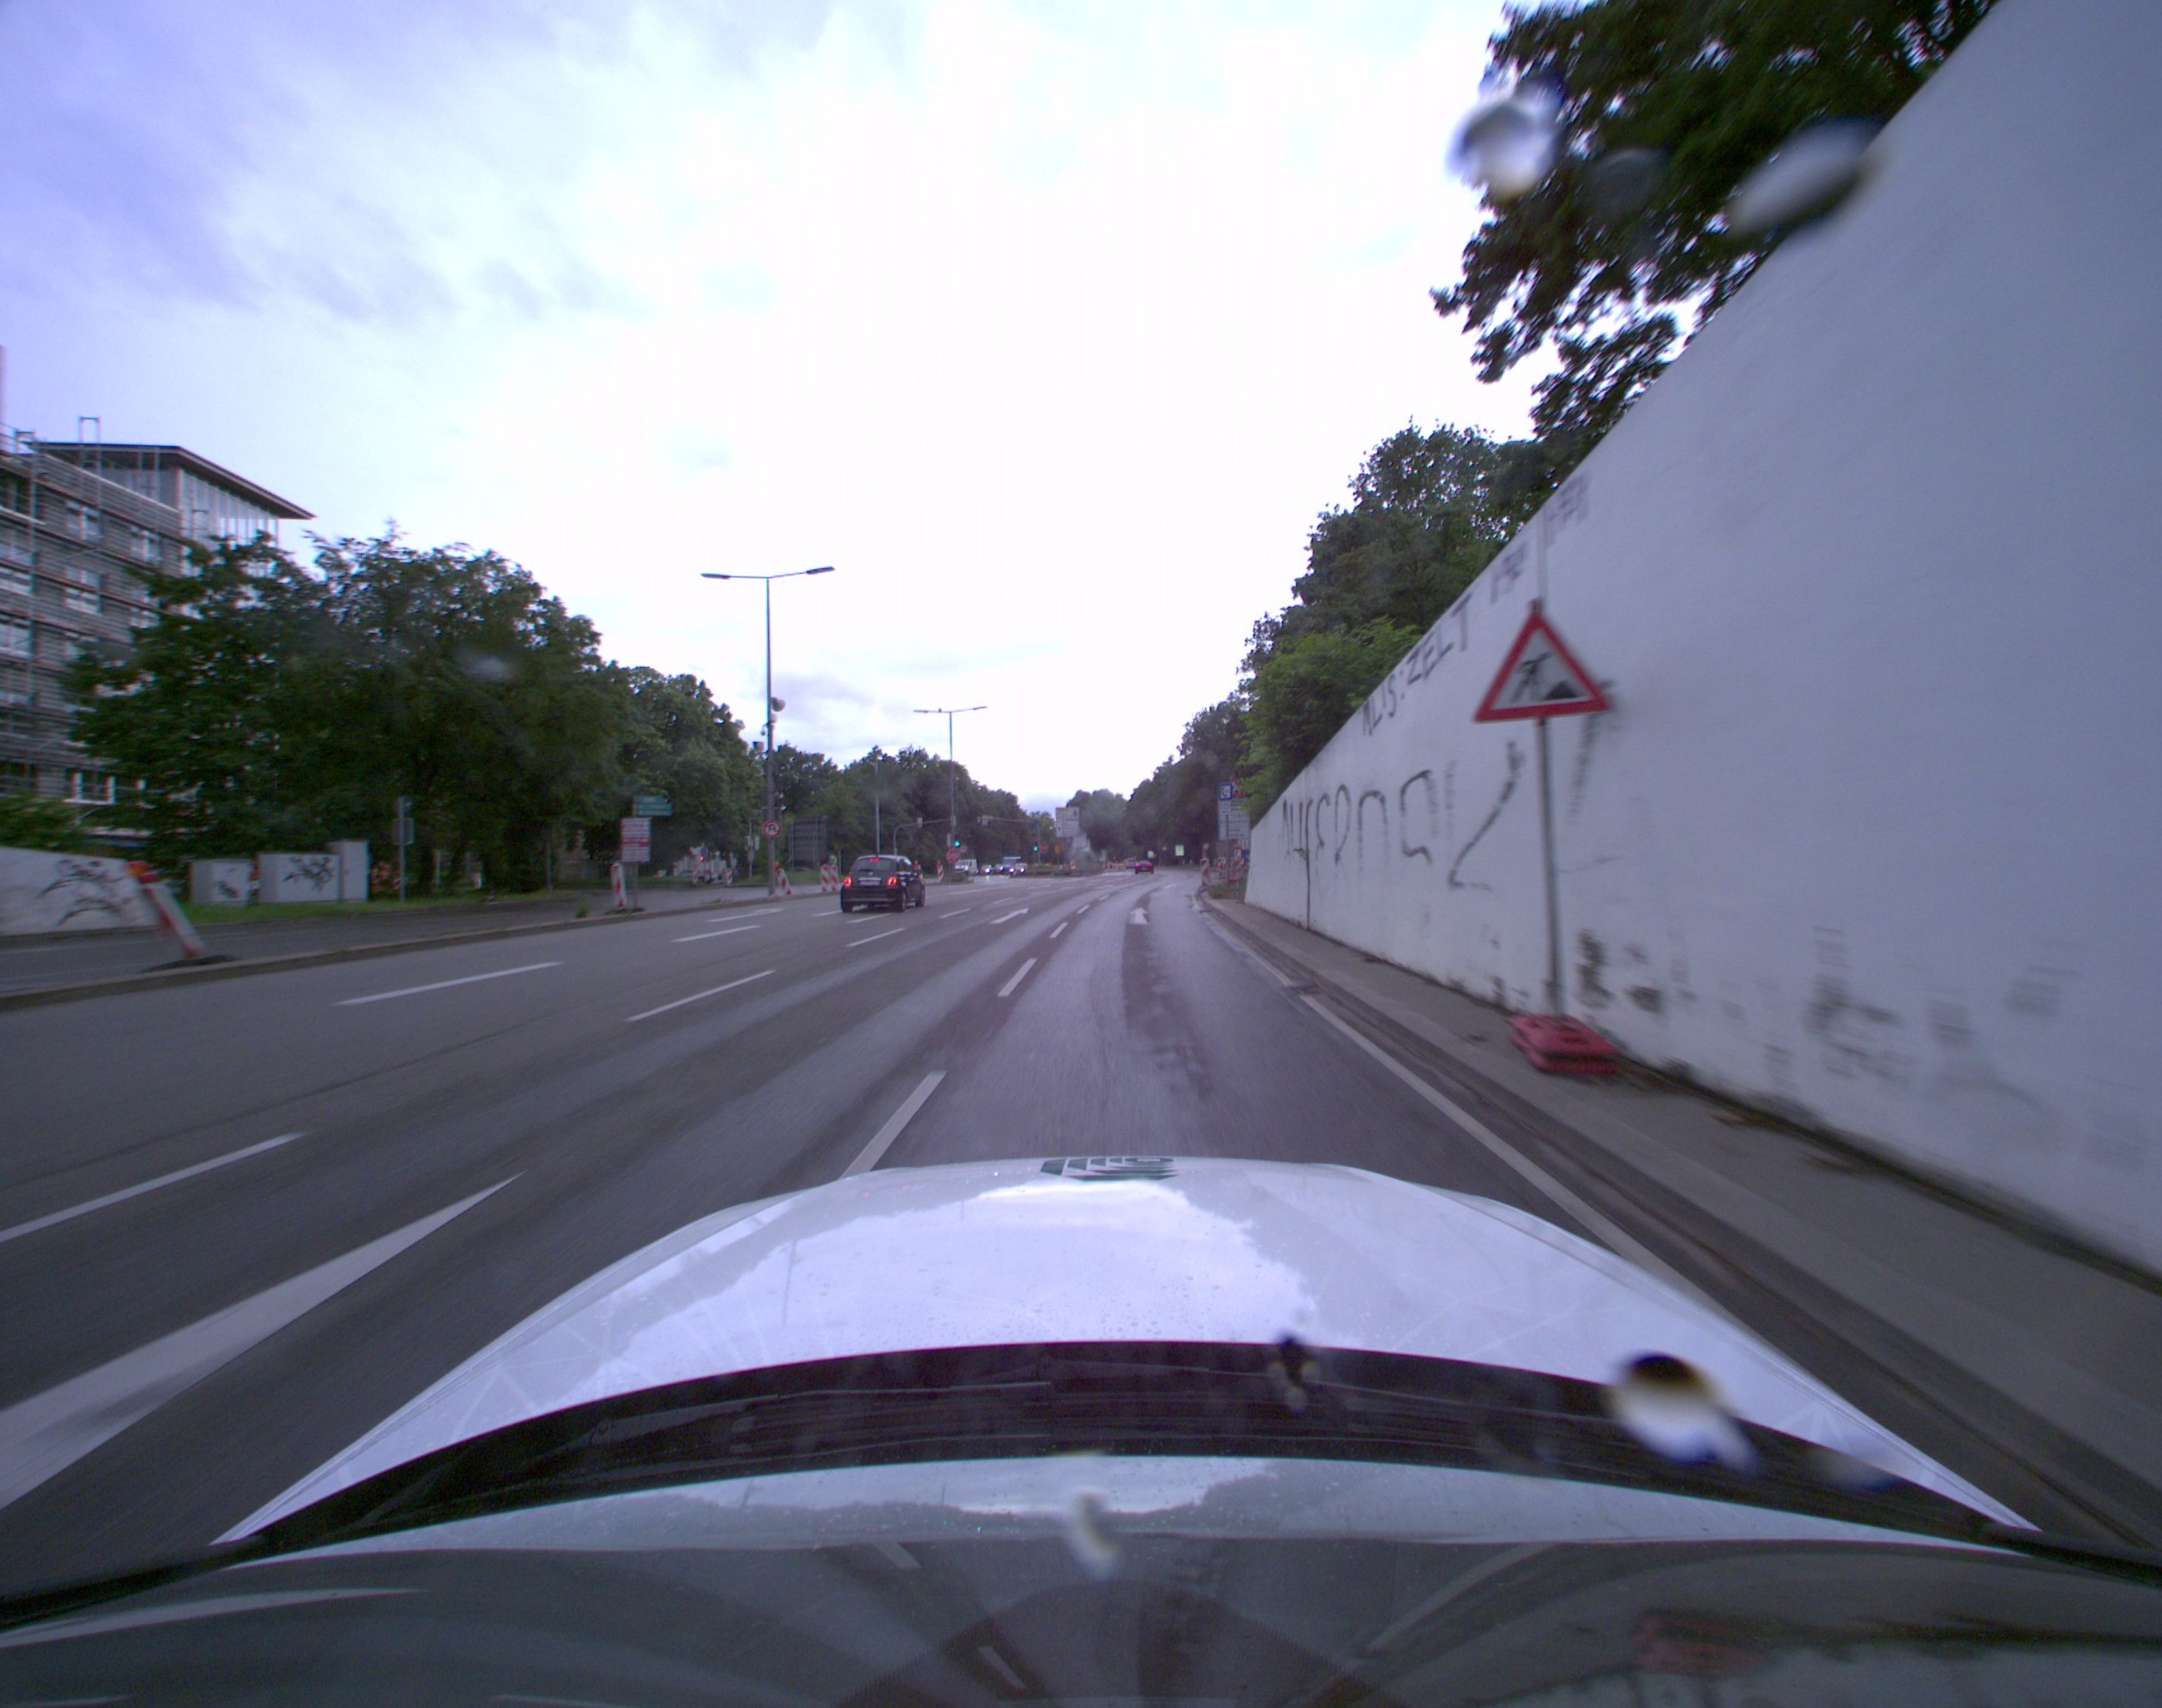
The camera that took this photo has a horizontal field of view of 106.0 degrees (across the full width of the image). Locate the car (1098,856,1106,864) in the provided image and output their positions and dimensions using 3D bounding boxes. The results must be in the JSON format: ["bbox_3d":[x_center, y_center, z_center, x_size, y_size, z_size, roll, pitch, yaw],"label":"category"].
[{"bbox_3d":[5.446,1.549,208.371,1.987,2.014,3.999,-1,0,0],"label":"car"}]

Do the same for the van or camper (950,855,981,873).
[{"bbox_3d":[-13.207,1.135,93.729,2.117,2.014,5.325,-1,-1,7],"label":"van or camper"}]

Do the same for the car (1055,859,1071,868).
[{"bbox_3d":[-2.750,1.519,126.789,2.000,1.301,4.320,-1,-1,4],"label":"car"}]

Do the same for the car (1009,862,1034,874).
[{"bbox_3d":[-6.792,1.546,92.908,1.998,1.301,4.324,-1,-1,7],"label":"car"}]

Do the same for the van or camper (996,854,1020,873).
[{"bbox_3d":[-9.310,1.200,104.677,2.117,2.349,4.435,-1,-1,7],"label":"van or camper"}]

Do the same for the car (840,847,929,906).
[{"bbox_3d":[-5.246,0.544,22.198,1.607,1.454,3.571,0,1,-1],"label":"car"}]

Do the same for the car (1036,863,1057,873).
[{"bbox_3d":[-4.369,1.774,104.706,1.998,1.301,4.324,-1,-1,7],"label":"car"}]

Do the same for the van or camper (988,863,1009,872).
[{"bbox_3d":[-11.566,1.866,113.845,1.998,1.301,4.100,-1,-1,7],"label":"van or camper"}]

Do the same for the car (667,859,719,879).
[{"bbox_3d":[-37.076,1.403,77.855,3.980,1.683,1.895,-2,1,-5],"label":"car"}]

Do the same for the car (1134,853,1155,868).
[{"bbox_3d":[6.290,0.684,81.008,1.984,1.448,4.320,-1,-1,4],"label":"car"}]

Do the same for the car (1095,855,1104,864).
[{"bbox_3d":[4.469,1.299,194.082,1.987,2.014,3.999,-1,0,0],"label":"car"}]

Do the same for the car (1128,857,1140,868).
[{"bbox_3d":[10.046,1.678,155.567,1.987,2.014,3.999,-1,0,0],"label":"car"}]

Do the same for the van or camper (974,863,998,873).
[{"bbox_3d":[-12.054,1.761,103.741,1.998,1.301,4.100,-1,-1,7],"label":"van or camper"}]
